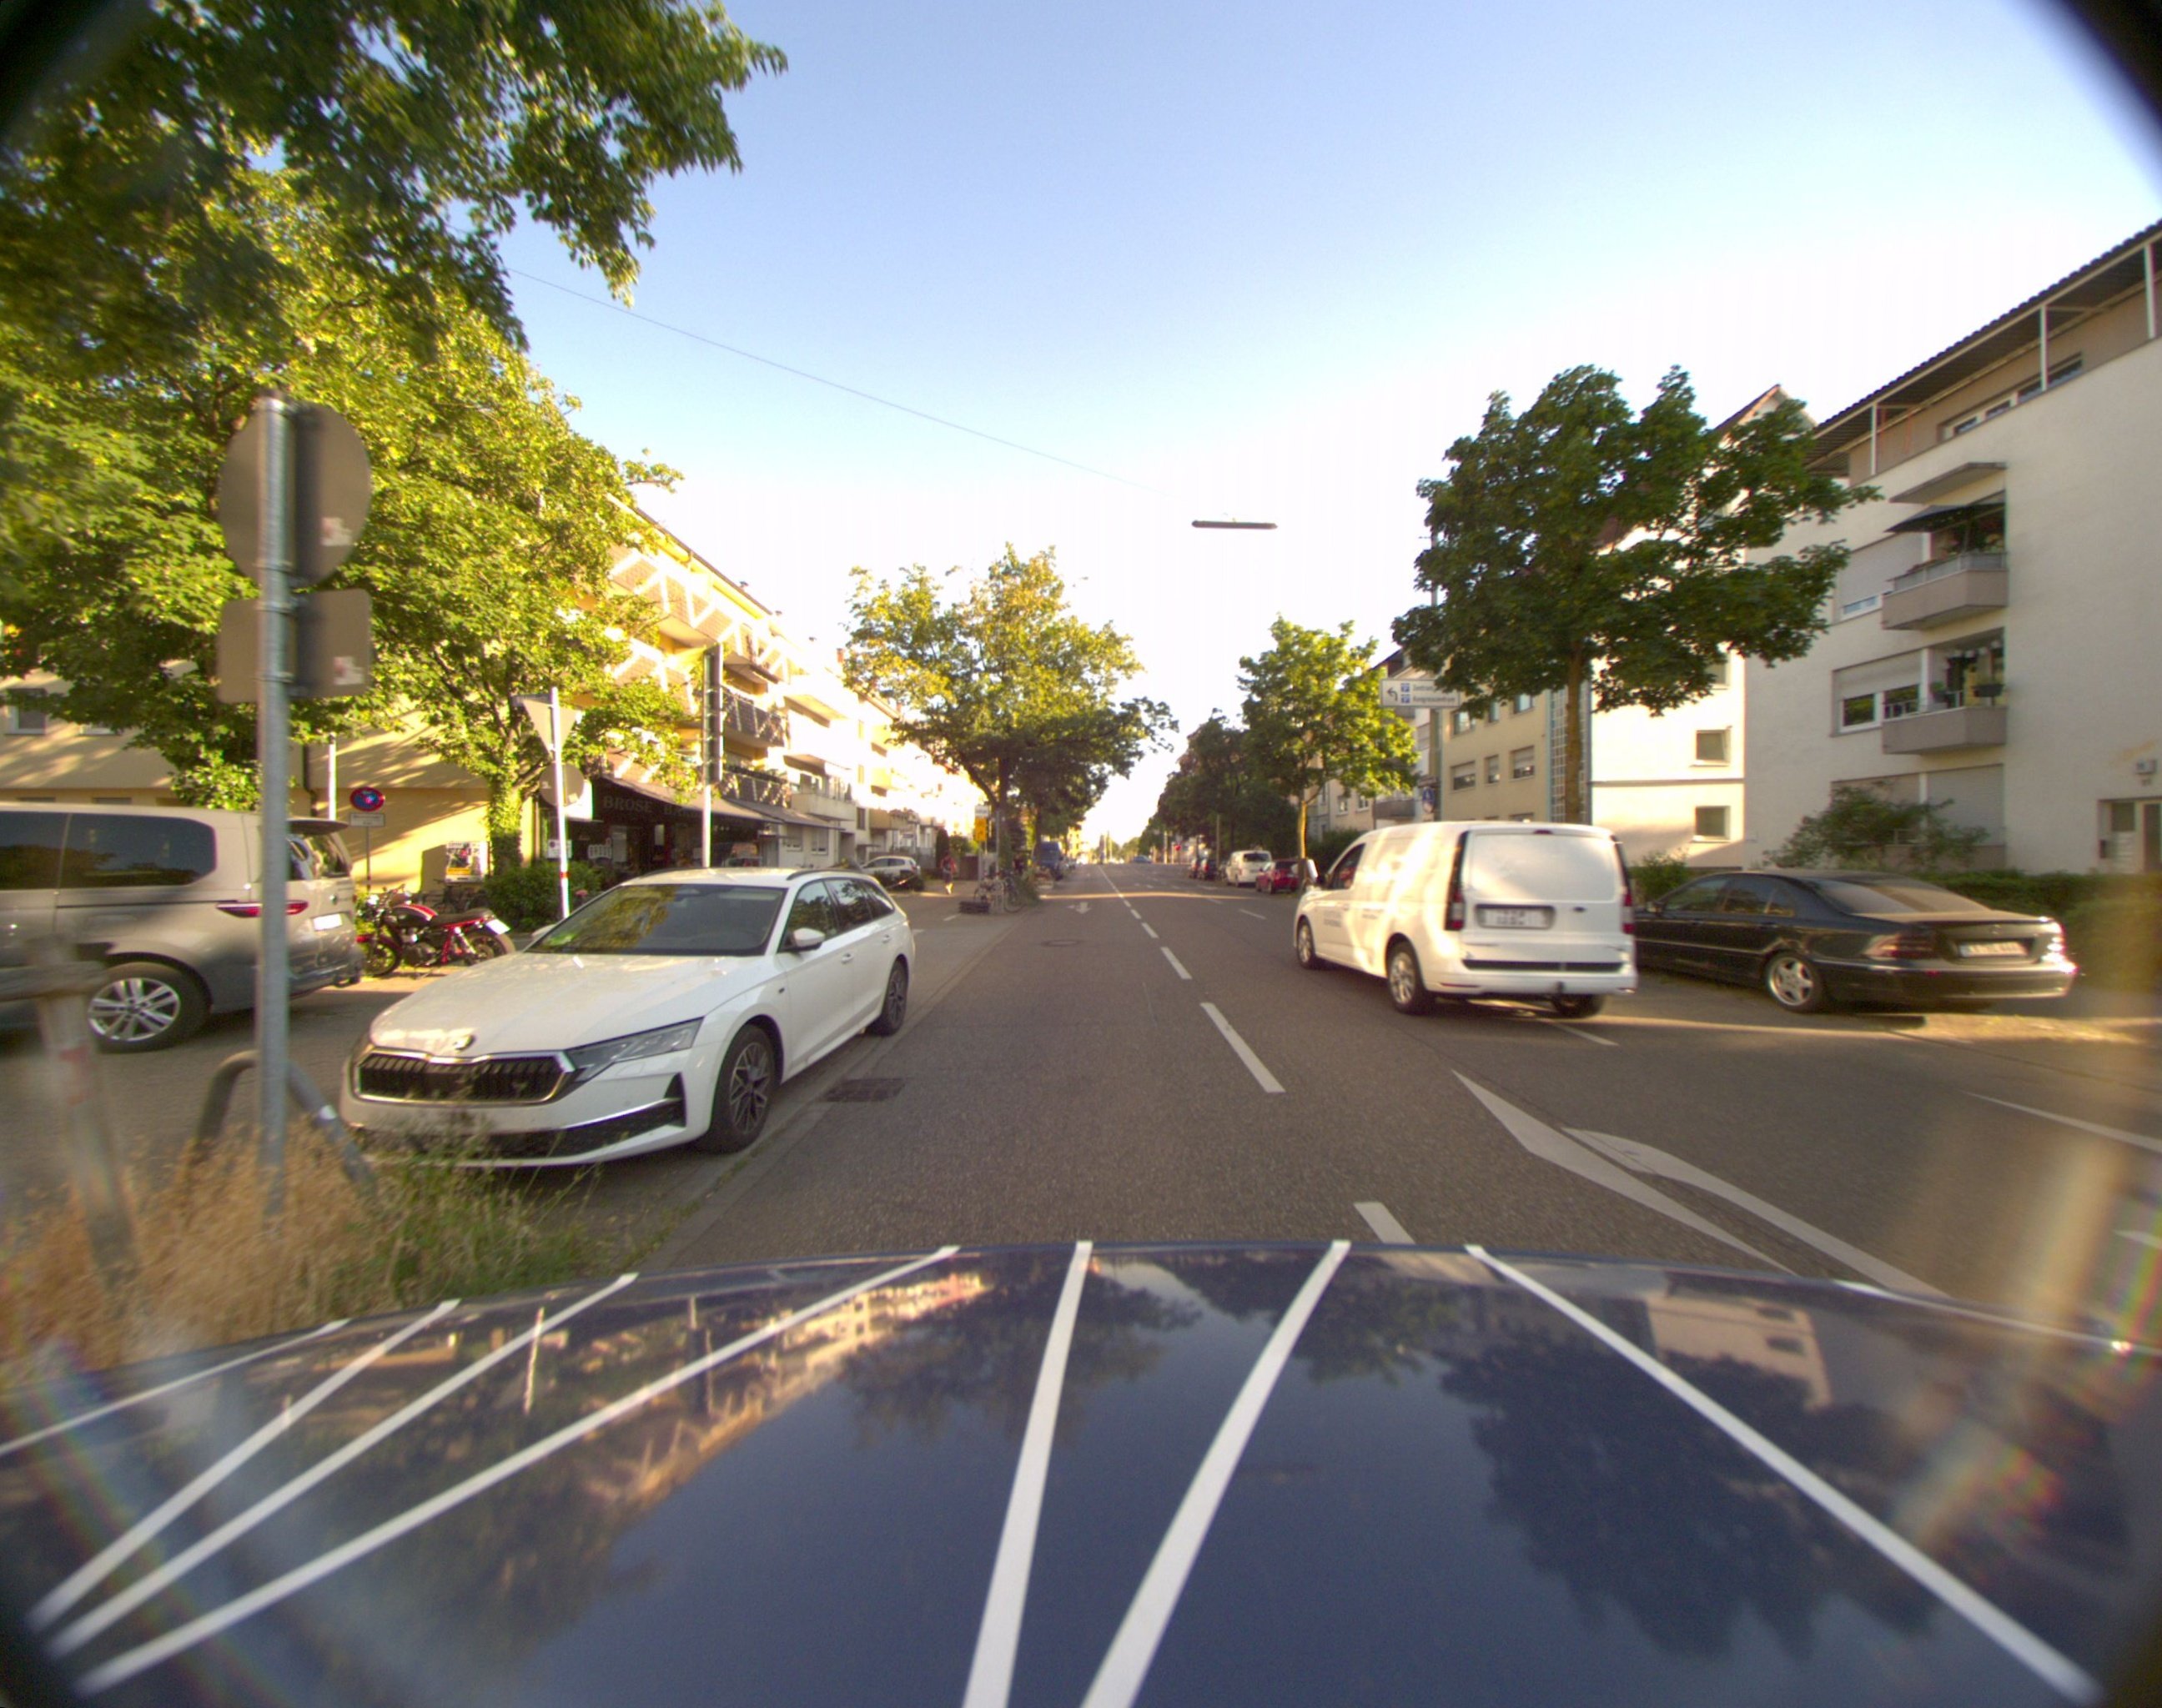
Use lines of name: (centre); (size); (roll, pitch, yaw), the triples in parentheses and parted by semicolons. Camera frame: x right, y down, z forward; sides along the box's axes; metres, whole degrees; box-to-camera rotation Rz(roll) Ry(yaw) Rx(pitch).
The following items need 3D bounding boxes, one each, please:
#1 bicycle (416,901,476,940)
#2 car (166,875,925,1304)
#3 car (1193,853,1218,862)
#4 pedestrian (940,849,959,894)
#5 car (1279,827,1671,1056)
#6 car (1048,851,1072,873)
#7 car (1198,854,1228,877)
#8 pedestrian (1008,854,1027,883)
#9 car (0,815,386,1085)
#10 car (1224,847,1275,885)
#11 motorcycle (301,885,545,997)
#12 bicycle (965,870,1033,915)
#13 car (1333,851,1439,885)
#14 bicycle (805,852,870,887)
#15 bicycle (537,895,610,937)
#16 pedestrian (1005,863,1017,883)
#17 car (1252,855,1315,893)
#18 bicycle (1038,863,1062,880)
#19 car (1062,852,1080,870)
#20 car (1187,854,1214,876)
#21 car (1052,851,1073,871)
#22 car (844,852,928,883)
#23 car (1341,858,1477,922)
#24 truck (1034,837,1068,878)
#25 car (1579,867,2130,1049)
bicycle: (-13.526, 1.404, 16.207); (0.914, 0.739, 0.427); (-1, 1, -31)
car: (-2.506, 0.964, 5.189); (1.825, 1.469, 4.621); (-1, 0, 1)
car: (22.148, 0.631, 134.988); (3.988, 1.576, 2.004); (0, 1, 38)
pedestrian: (-5.185, 0.698, 29.913); (0.619, 1.761, 0.562); (0, 0, 2)
car: (3.729, 0.694, 8.295); (1.893, 1.793, 4.430); (1, 0, -1)
car: (-1.715, 0.611, 62.601); (1.704, 1.739, 4.000); (0, 0, 2)
car: (8.689, 0.721, 50.074); (1.407, 1.397, 3.682); (-2, 1, 2)
pedestrian: (-3.225, 0.720, 38.762); (0.917, 1.436, 0.811); (-1, 1, -1)
car: (-8.833, 0.684, 5.720); (4.946, 1.888, 1.916); (-1, 1, -28)
car: (8.557, 0.576, 38.870); (1.740, 1.799, 4.192); (-1, 0, 1)
motorcycle: (-8.031, 1.037, 9.386); (2.163, 1.232, 0.789); (-1, 1, -9)
bicycle: (-2.331, 1.066, 21.490); (1.894, 1.155, 0.616); (1, 1, 28)
car: (14.902, 0.653, 37.216); (4.563, 1.397, 1.739); (-2, 1, -9)
bicycle: (-10.391, 0.653, 32.451); (2.459, 1.433, 0.928); (-1, 1, -1)
bicycle: (-10.810, 1.302, 16.226); (0.486, 0.763, 1.531); (0, 0, 2)
pedestrian: (-3.702, 0.999, 40.058); (0.553, 1.053, 0.532); (-1, 1, 2)
car: (8.449, 0.801, 32.023); (1.740, 1.455, 3.636); (-1, 0, 1)
bicycle: (-1.951, 1.083, 48.151); (1.469, 1.058, 0.445); (0, 1, 1)
car: (-0.985, 0.674, 77.893); (1.704, 1.739, 4.000); (0, 0, 2)
car: (8.507, 0.744, 54.259); (1.407, 1.456, 3.682); (-2, 1, 2)
car: (-1.622, 0.594, 67.591); (1.704, 1.739, 4.000); (0, 0, 2)
car: (-9.841, 0.681, 38.587); (3.878, 1.496, 1.575); (0, 1, -4)
car: (8.330, 0.846, 19.723); (1.862, 1.477, 4.000); (0, 0, 1)
truck: (-1.982, 0.218, 51.684); (1.998, 2.629, 5.616); (-1, 0, 1)
car: (7.829, 0.897, 8.482); (1.641, 1.399, 4.444); (-1, 0, 0)
